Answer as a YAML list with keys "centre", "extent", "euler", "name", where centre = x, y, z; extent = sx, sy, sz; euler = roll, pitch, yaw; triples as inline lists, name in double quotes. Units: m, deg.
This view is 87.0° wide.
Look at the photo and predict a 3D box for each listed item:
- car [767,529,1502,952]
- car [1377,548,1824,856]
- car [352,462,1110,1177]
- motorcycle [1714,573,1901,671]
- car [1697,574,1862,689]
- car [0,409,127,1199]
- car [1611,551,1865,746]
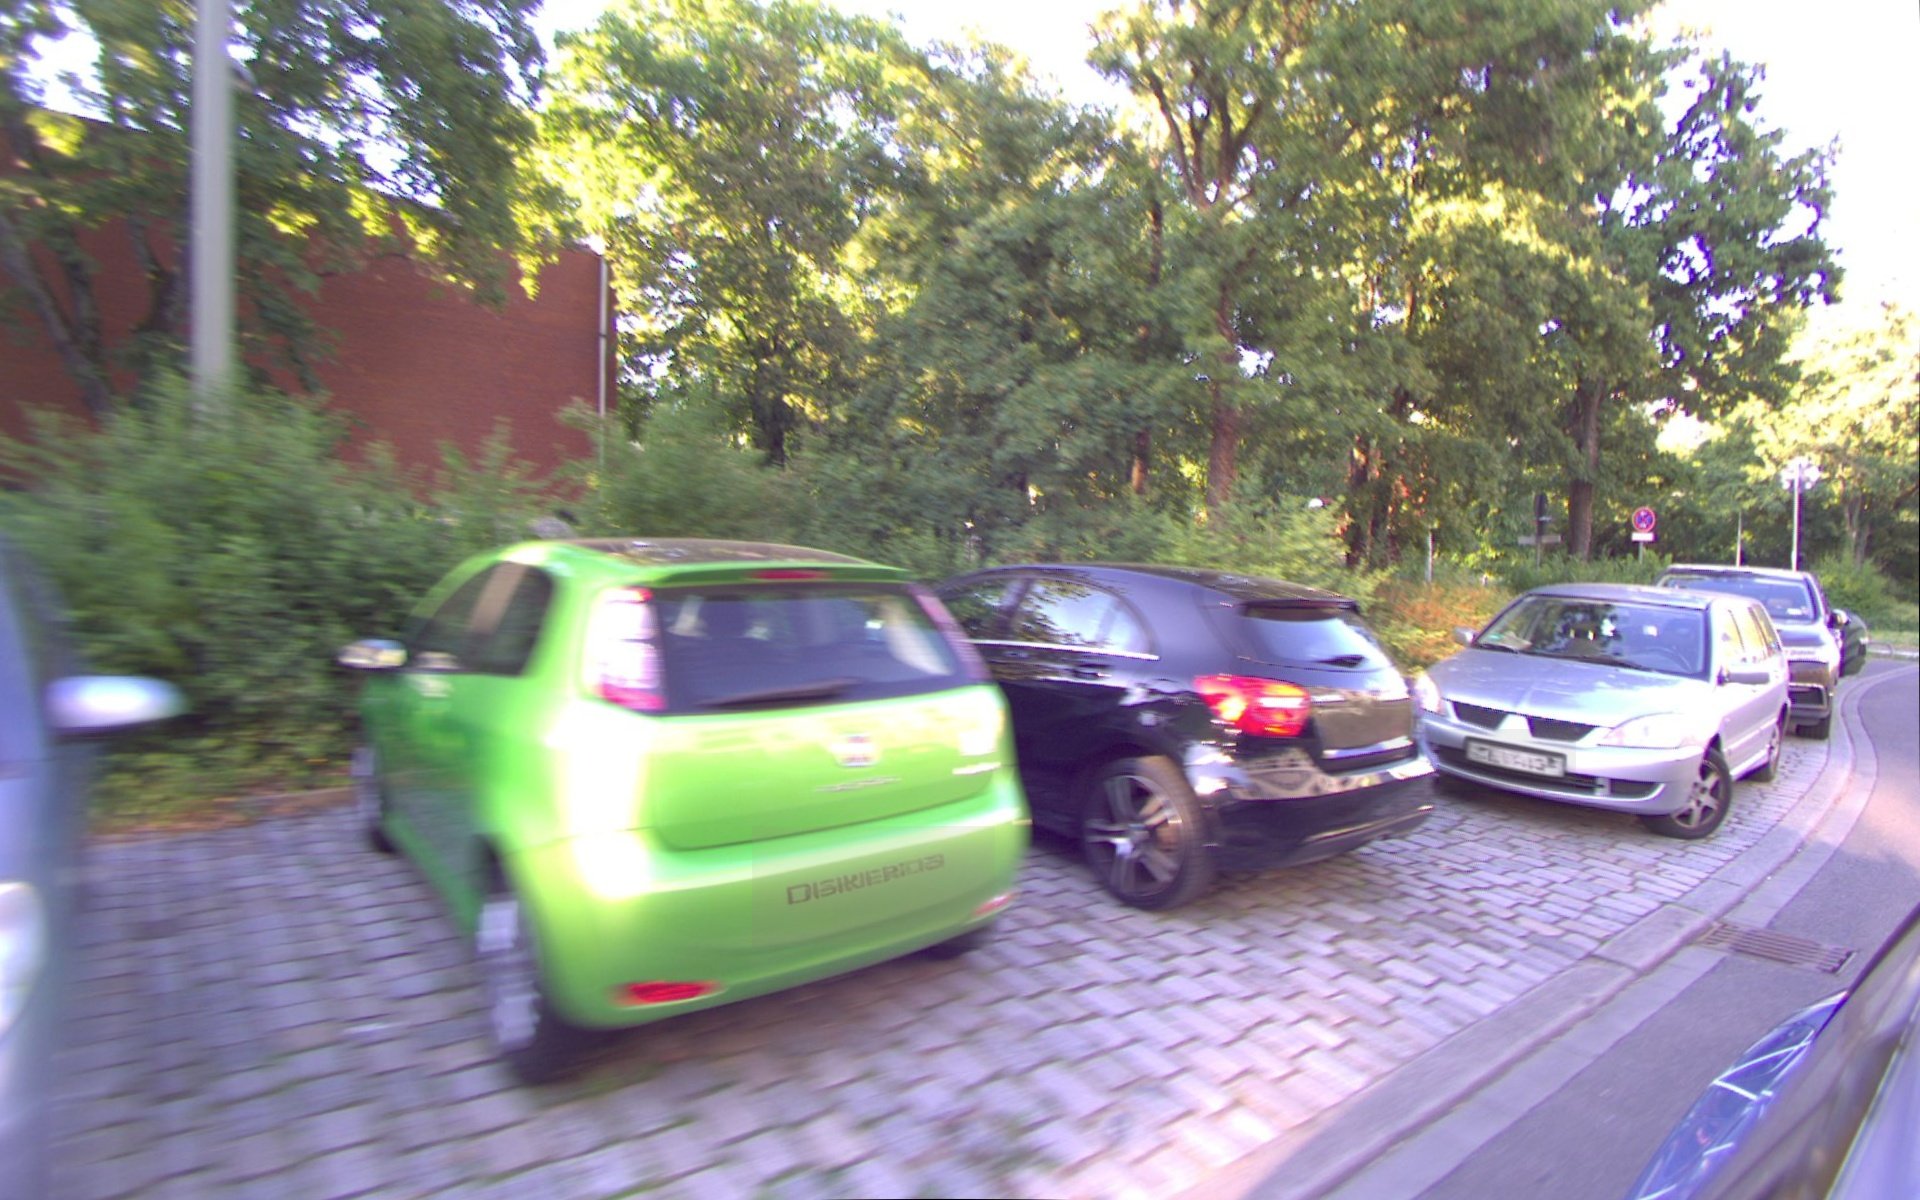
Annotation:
- centre: [0.622, 0.422, 5.732]
  extent: [1.708, 1.530, 3.959]
  euler: [-1, 3, -39]
  name: "car"
- centre: [4.771, 0.491, 7.261]
  extent: [4.228, 1.587, 1.653]
  euler: [0, 2, -43]
  name: "car"
- centre: [-1.287, 0.428, 4.152]
  extent: [1.641, 1.559, 3.636]
  euler: [0, 2, -38]
  name: "car"
- centre: [14.768, 0.324, 17.710]
  extent: [1.020, 1.564, 2.300]
  euler: [-1, 2, -34]
  name: "motorcycle"
- centre: [12.370, 0.376, 15.218]
  extent: [1.620, 1.505, 3.365]
  euler: [3, 3, 44]
  name: "car"
- centre: [-3.045, 0.453, 2.344]
  extent: [1.641, 1.544, 3.394]
  euler: [0, 2, -38]
  name: "car"
- centre: [8.979, 0.369, 11.589]
  extent: [1.920, 1.770, 4.598]
  euler: [2, 3, 41]
  name: "car"
